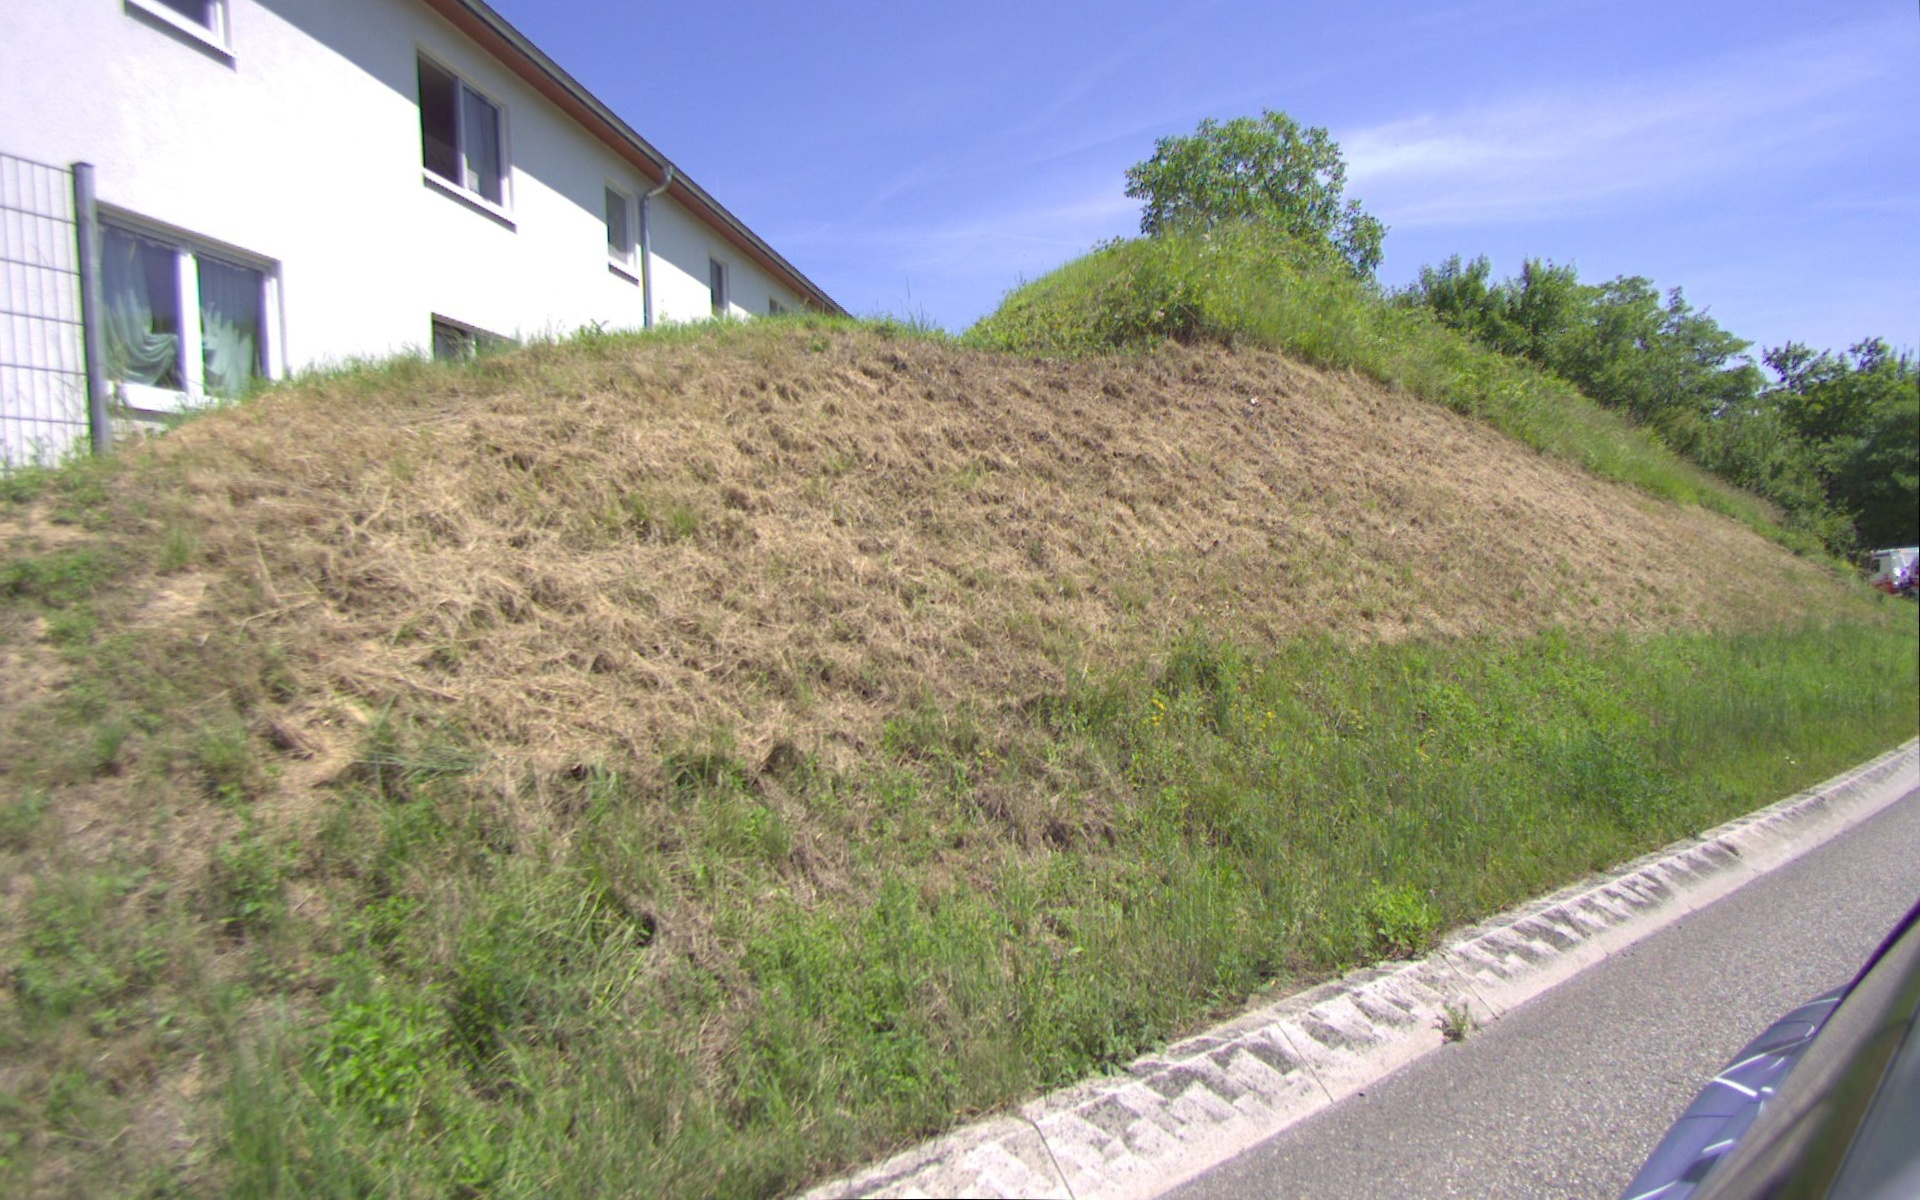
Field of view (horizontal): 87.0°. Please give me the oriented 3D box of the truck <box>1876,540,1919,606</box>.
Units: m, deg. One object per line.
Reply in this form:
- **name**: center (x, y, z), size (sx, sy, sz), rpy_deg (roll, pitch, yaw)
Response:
- **truck**: center (48.186, -1.315, 49.473), size (2.602, 3.210, 7.021), rpy_deg (-1, 1, 20)

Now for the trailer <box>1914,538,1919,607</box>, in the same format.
- **trailer**: center (46.270, -1.271, 44.710), size (2.614, 3.415, 11.047), rpy_deg (-1, 1, 25)
